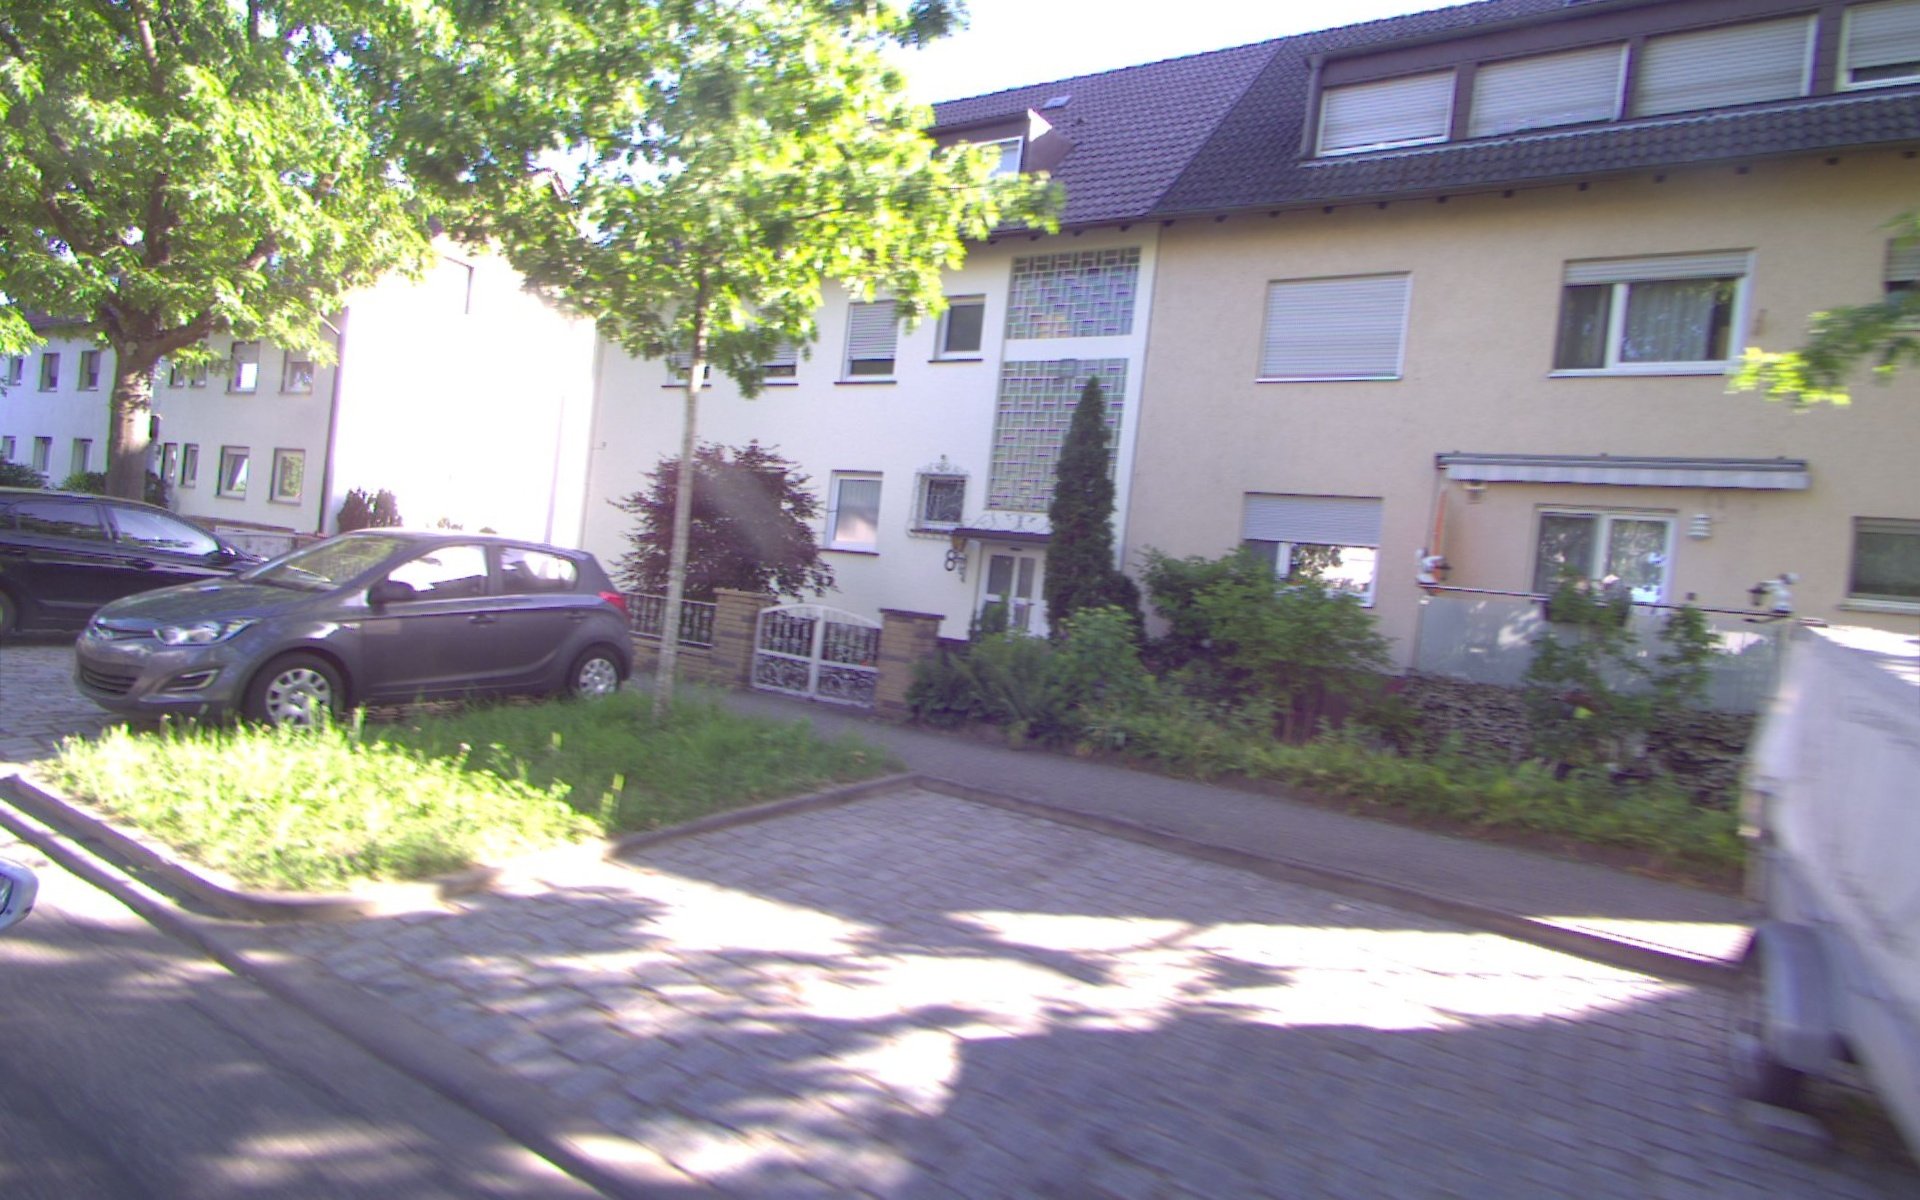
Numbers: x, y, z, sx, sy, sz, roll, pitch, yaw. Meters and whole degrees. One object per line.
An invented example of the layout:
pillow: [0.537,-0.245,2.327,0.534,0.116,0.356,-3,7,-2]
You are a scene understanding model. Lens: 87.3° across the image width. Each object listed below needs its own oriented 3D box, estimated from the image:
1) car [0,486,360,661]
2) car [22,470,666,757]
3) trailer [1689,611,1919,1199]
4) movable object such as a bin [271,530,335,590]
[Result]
car: [-8.714,-0.251,10.429,1.633,1.535,3.886,6,0,31]
car: [-4.513,0.141,8.065,1.727,1.644,3.994,6,0,28]
trailer: [3.327,0.948,2.674,1.586,1.686,2.950,6,2,26]
movable object such as a bin: [-13.528,-0.822,20.721,0.891,1.112,0.704,6,1,30]
